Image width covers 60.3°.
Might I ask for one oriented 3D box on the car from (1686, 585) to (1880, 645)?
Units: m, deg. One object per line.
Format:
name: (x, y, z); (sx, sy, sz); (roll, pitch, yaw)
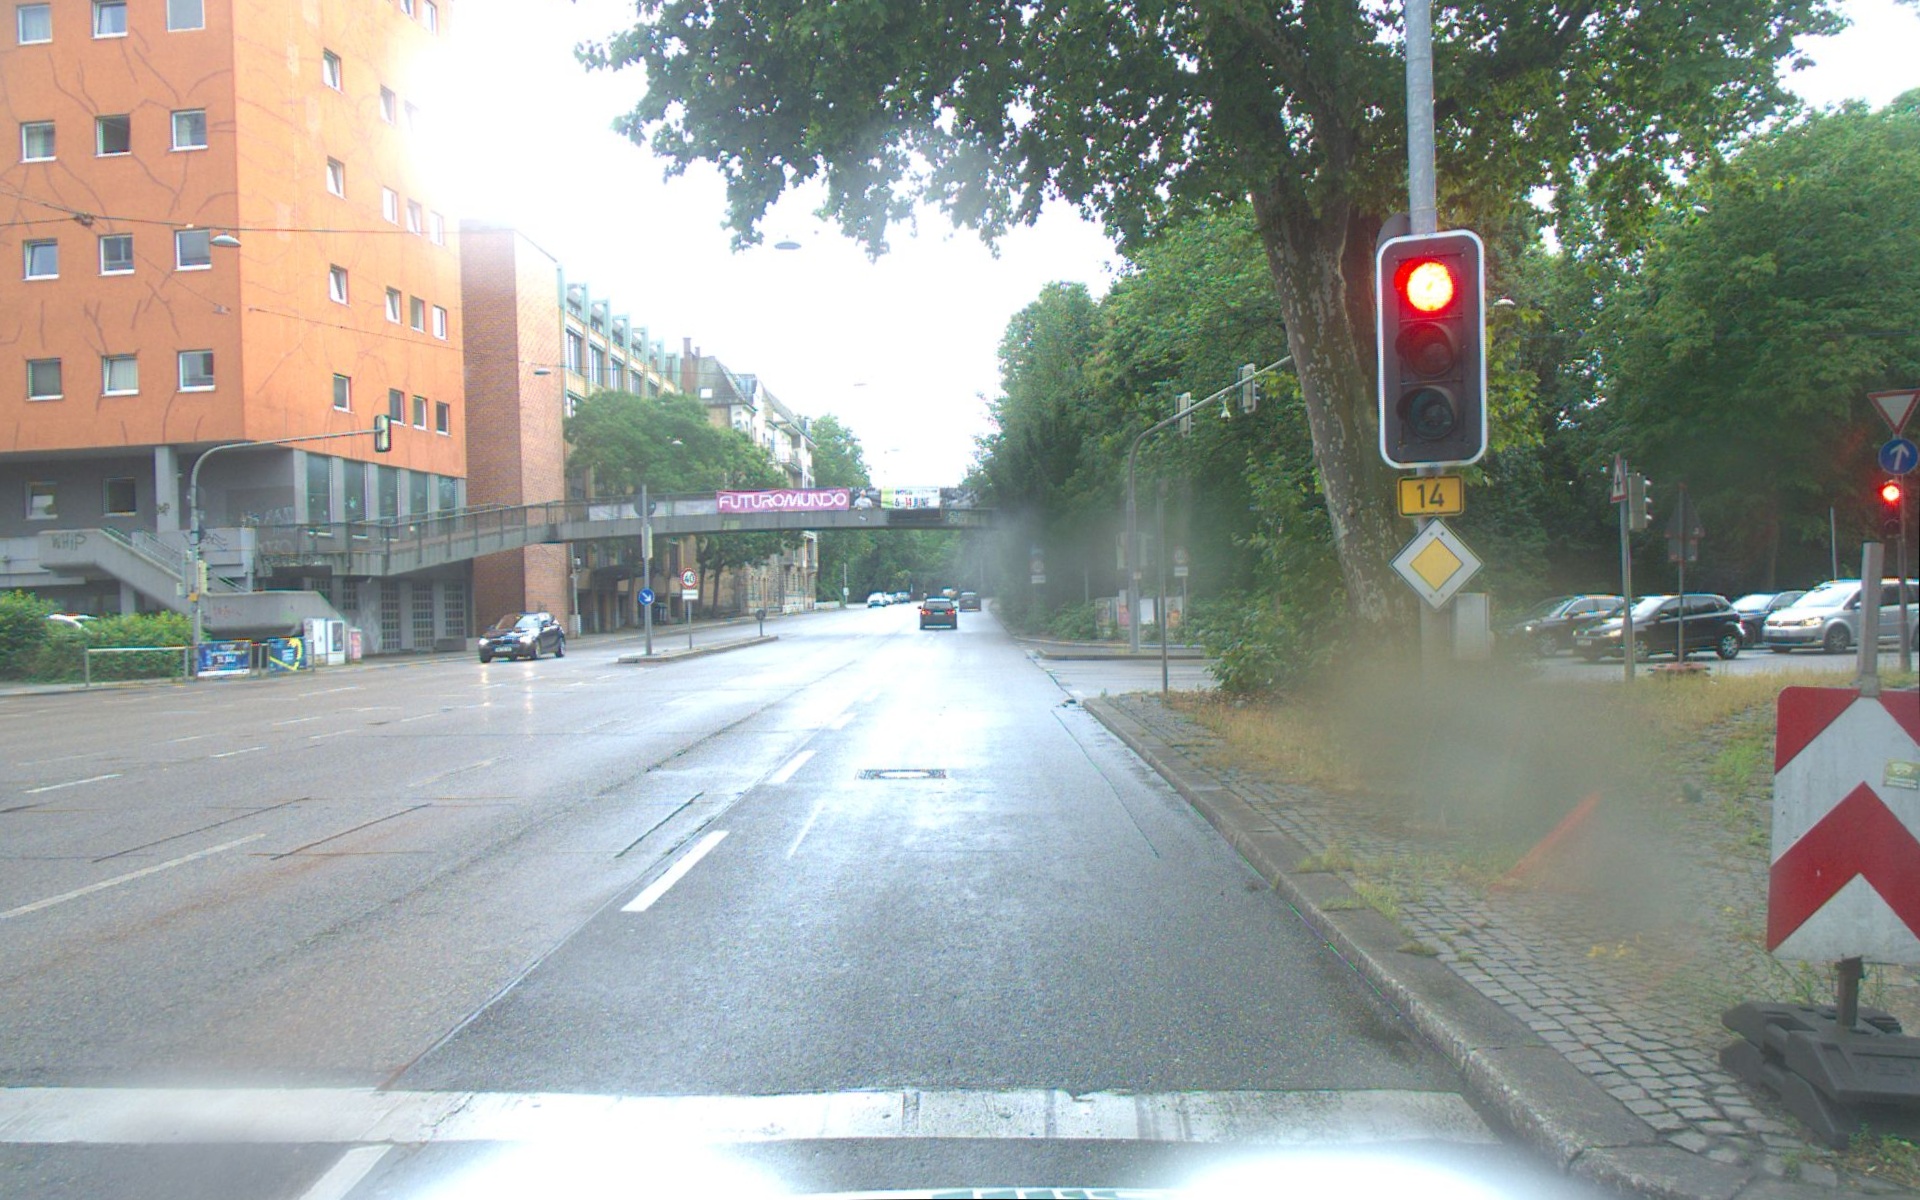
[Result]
car: (20.862, 0.374, 41.941); (4.361, 1.427, 1.821); (1, 0, -17)

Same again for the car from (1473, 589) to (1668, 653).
car: (14.837, 0.513, 40.262); (4.131, 1.466, 1.941); (1, 0, -17)

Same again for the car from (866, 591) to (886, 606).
car: (-9.625, -0.143, 189.605); (1.850, 1.638, 4.457); (-1, 0, 2)

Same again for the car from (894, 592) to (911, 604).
car: (-8.537, -0.315, 246.287); (1.856, 1.638, 4.444); (-1, 0, -11)

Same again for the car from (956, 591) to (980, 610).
car: (0.588, 0.057, 130.113); (1.805, 1.478, 3.776); (1, 0, -1)

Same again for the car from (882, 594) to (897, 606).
car: (-9.125, -0.005, 214.114); (1.673, 1.490, 4.042); (-2, 0, 2)

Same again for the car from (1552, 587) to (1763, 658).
car: (15.376, 0.495, 36.521); (4.119, 1.486, 1.785); (1, 0, -17)

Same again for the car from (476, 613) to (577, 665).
car: (-13.232, 1.186, 50.700); (1.650, 1.444, 4.216); (-2, -1, 4)

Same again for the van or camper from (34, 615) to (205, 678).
van or camper: (-23.977, 1.302, 47.266); (3.902, 1.656, 1.915); (-1, 0, 5)

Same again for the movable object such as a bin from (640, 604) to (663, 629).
movable object such as a bin: (-19.887, 1.051, 106.647); (1.256, 1.545, 1.273); (-1, 0, 1)

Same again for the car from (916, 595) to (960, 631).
car: (-1.100, 0.615, 80.010); (1.964, 1.672, 4.374); (-1, 0, -2)

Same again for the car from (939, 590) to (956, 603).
car: (-1.762, -0.498, 232.847); (1.853, 1.638, 4.450); (-1, 0, -6)

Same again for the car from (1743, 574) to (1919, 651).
car: (20.617, 0.298, 38.515); (4.129, 1.709, 1.898); (1, 0, -17)
